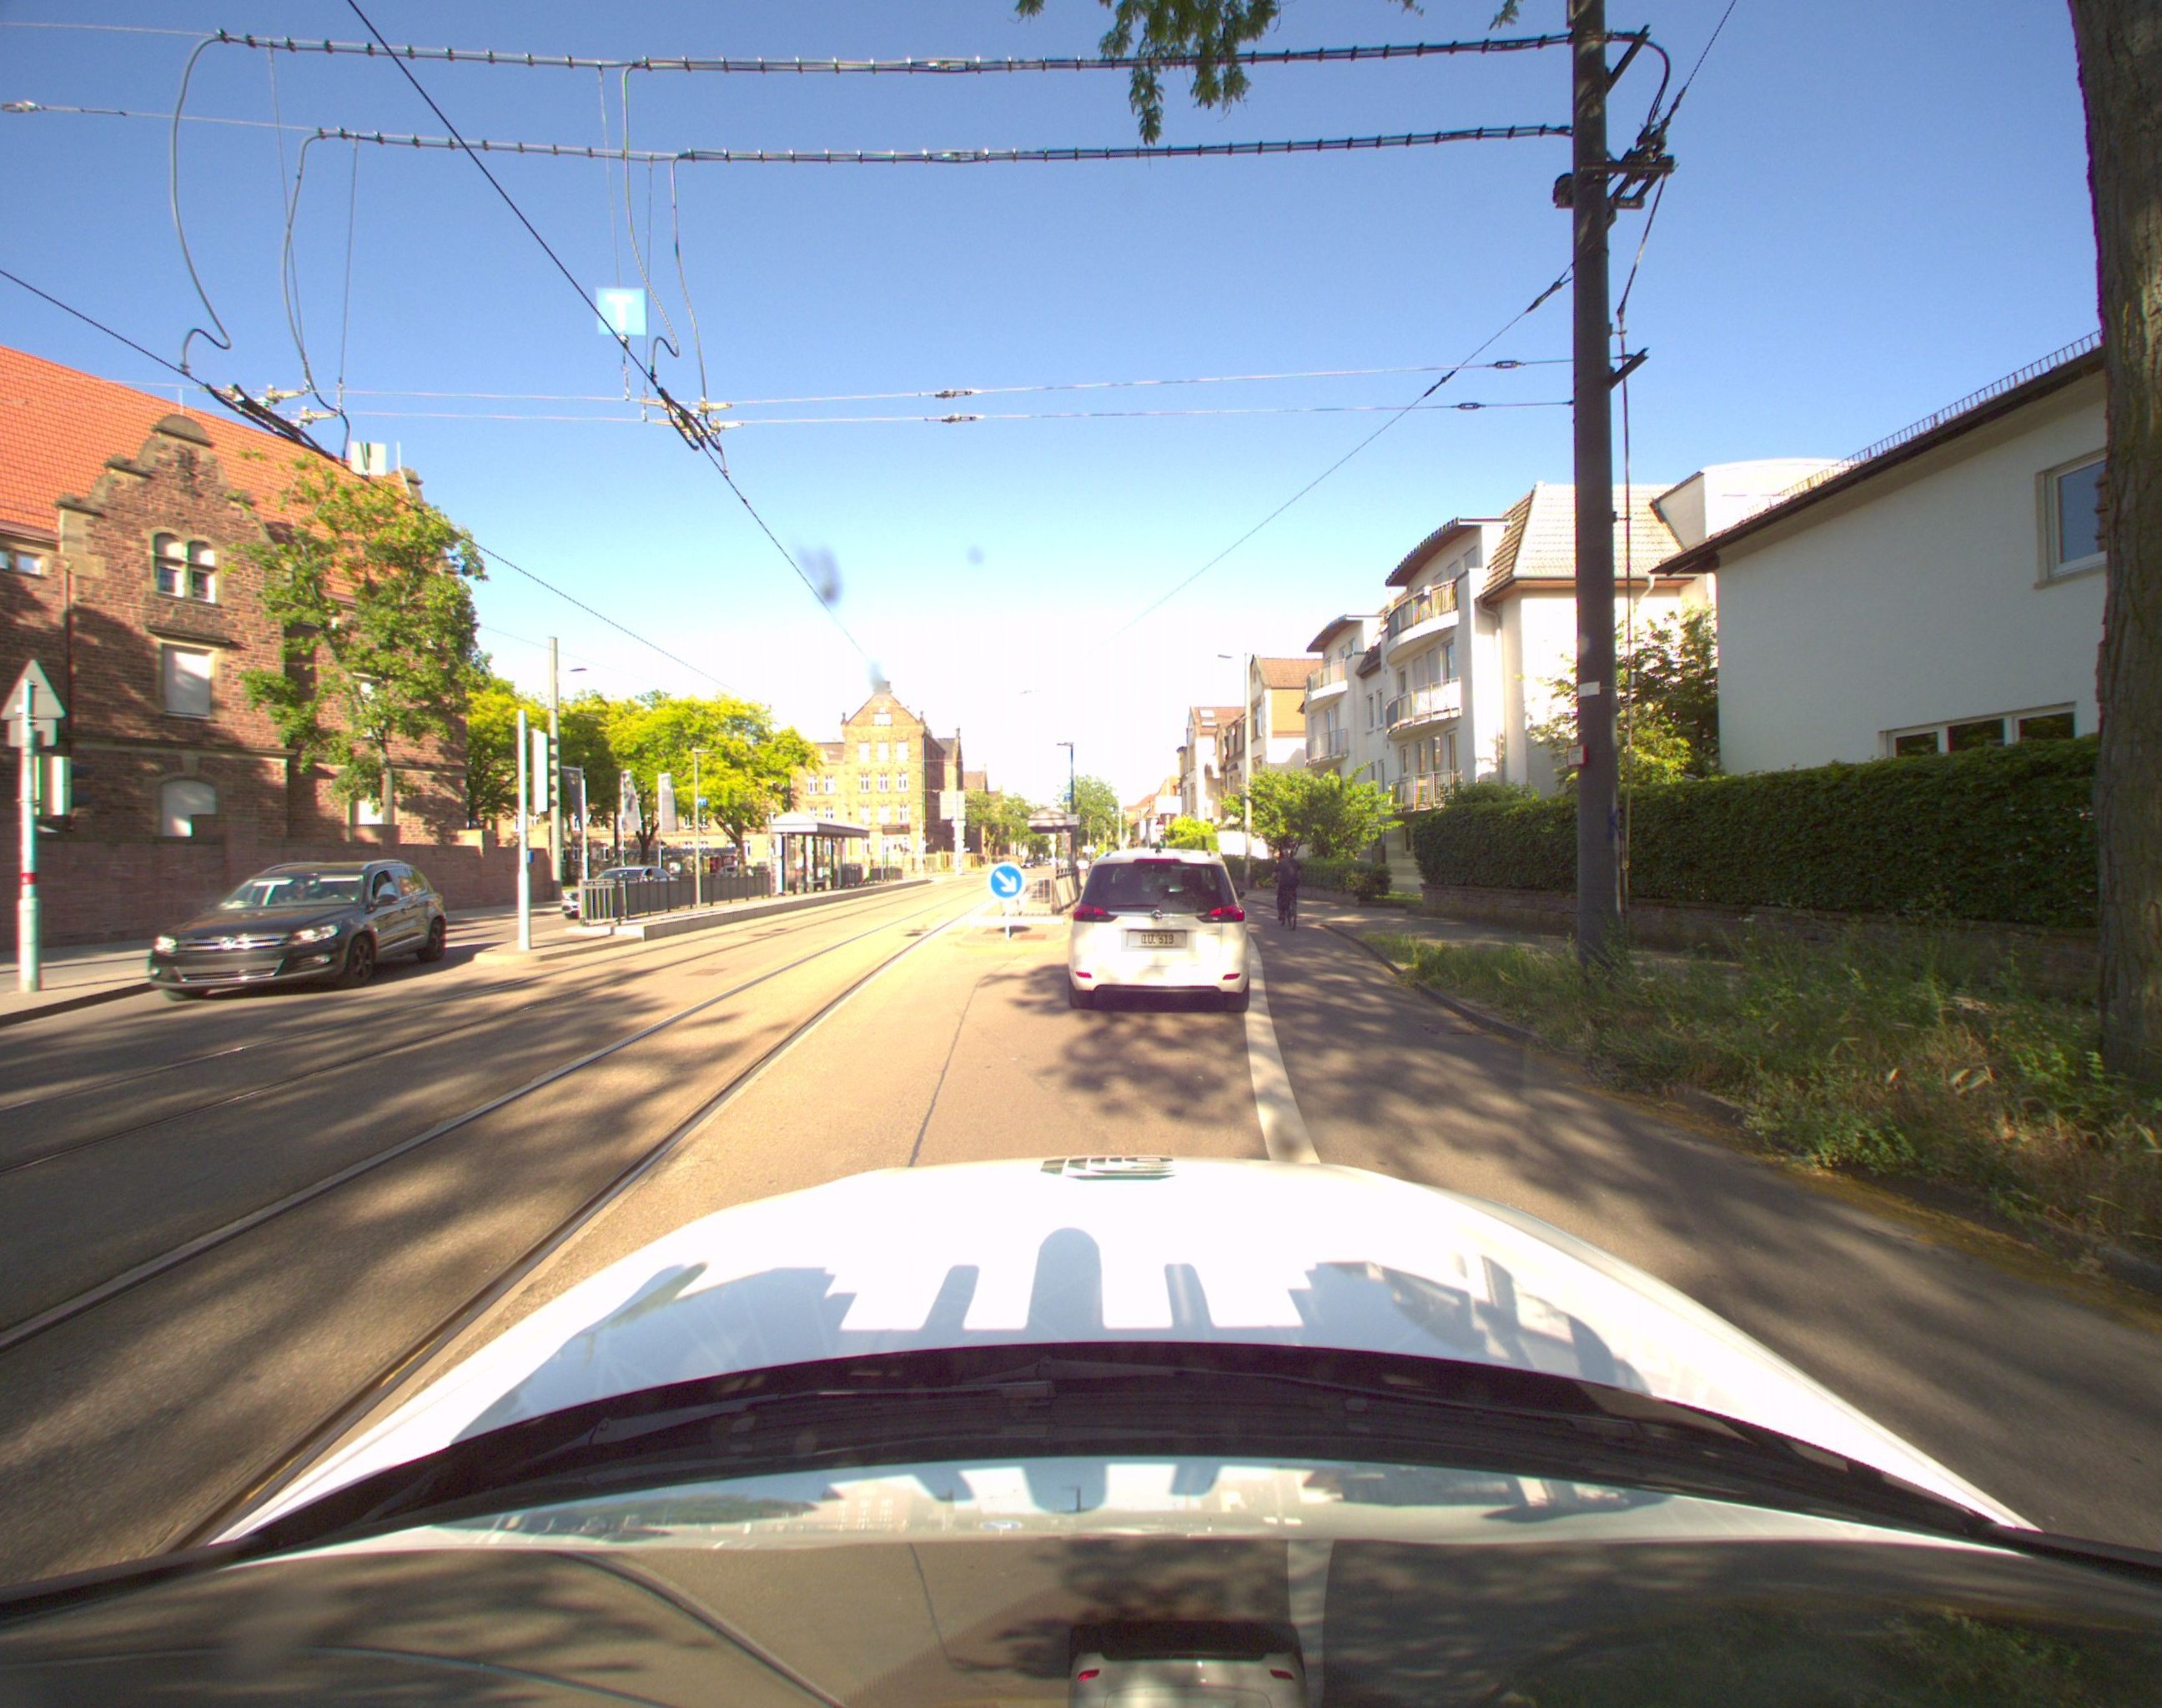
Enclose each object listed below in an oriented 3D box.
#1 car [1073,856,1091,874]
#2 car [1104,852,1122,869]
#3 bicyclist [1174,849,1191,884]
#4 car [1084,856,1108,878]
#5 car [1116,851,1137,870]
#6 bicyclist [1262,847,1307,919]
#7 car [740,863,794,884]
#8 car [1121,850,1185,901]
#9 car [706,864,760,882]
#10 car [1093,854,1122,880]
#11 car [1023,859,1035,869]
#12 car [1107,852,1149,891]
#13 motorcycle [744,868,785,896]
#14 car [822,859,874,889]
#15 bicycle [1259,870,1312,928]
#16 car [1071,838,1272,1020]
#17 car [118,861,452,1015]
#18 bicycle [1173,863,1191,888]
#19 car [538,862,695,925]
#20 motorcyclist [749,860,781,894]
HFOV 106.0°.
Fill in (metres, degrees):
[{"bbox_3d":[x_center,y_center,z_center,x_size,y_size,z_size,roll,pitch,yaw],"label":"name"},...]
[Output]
[{"bbox_3d":[0.098,1.122,83.386,1.770,1.692,3.880,-1,-1,1],"label":"car"},{"bbox_3d":[3.206,0.670,82.023,1.770,1.632,3.880,-1,-1,1],"label":"car"},{"bbox_3d":[4.808,0.578,38.715,0.683,1.634,1.016,-1,-1,1],"label":"bicyclist"},{"bbox_3d":[1.182,0.975,63.382,1.769,1.632,3.881,-1,-1,1],"label":"car"},{"bbox_3d":[4.055,0.557,72.973,1.770,1.632,3.880,-1,-1,1],"label":"car"},{"bbox_3d":[4.355,0.615,17.471,0.817,1.501,0.936,-1,-1,6],"label":"bicyclist"},{"bbox_3d":[-26.268,1.637,68.218,3.845,1.660,1.751,-1,-1,0],"label":"car"},{"bbox_3d":[2.417,0.705,28.115,1.771,1.632,3.878,-1,-1,-1],"label":"car"},{"bbox_3d":[-31.287,1.697,73.347,4.050,1.522,1.877,-1,-1,0],"label":"car"},{"bbox_3d":[1.691,0.848,52.899,1.770,1.632,3.881,-1,-1,1],"label":"car"},{"bbox_3d":[-8.954,1.713,139.841,1.901,1.677,4.355,-1,0,-1],"label":"car"},{"bbox_3d":[2.090,0.780,36.832,1.769,1.632,3.882,-1,-1,2],"label":"car"},{"bbox_3d":[-14.841,1.280,38.275,1.128,1.243,2.569,-1,-1,-5],"label":"motorcycle"},{"bbox_3d":[-14.277,1.288,50.094,1.849,1.403,3.982,-7,-5,1],"label":"car"},{"bbox_3d":[4.355,0.936,17.489,0.825,1.154,2.098,-1,-1,7],"label":"bicycle"},{"bbox_3d":[0.817,0.705,9.418,1.829,1.642,3.917,-1,-1,-1],"label":"car"},{"bbox_3d":[-10.575,0.963,11.287,1.803,1.637,4.089,-2,0,-21],"label":"car"},{"bbox_3d":[4.813,0.997,38.726,0.683,1.157,1.620,-1,-1,1],"label":"bicycle"},{"bbox_3d":[-13.407,1.060,23.901,1.877,1.414,4.624,-1,2,0],"label":"car"},{"bbox_3d":[-14.844,1.069,38.270,1.123,1.525,1.053,-1,-1,-5],"label":"motorcyclist"}]
